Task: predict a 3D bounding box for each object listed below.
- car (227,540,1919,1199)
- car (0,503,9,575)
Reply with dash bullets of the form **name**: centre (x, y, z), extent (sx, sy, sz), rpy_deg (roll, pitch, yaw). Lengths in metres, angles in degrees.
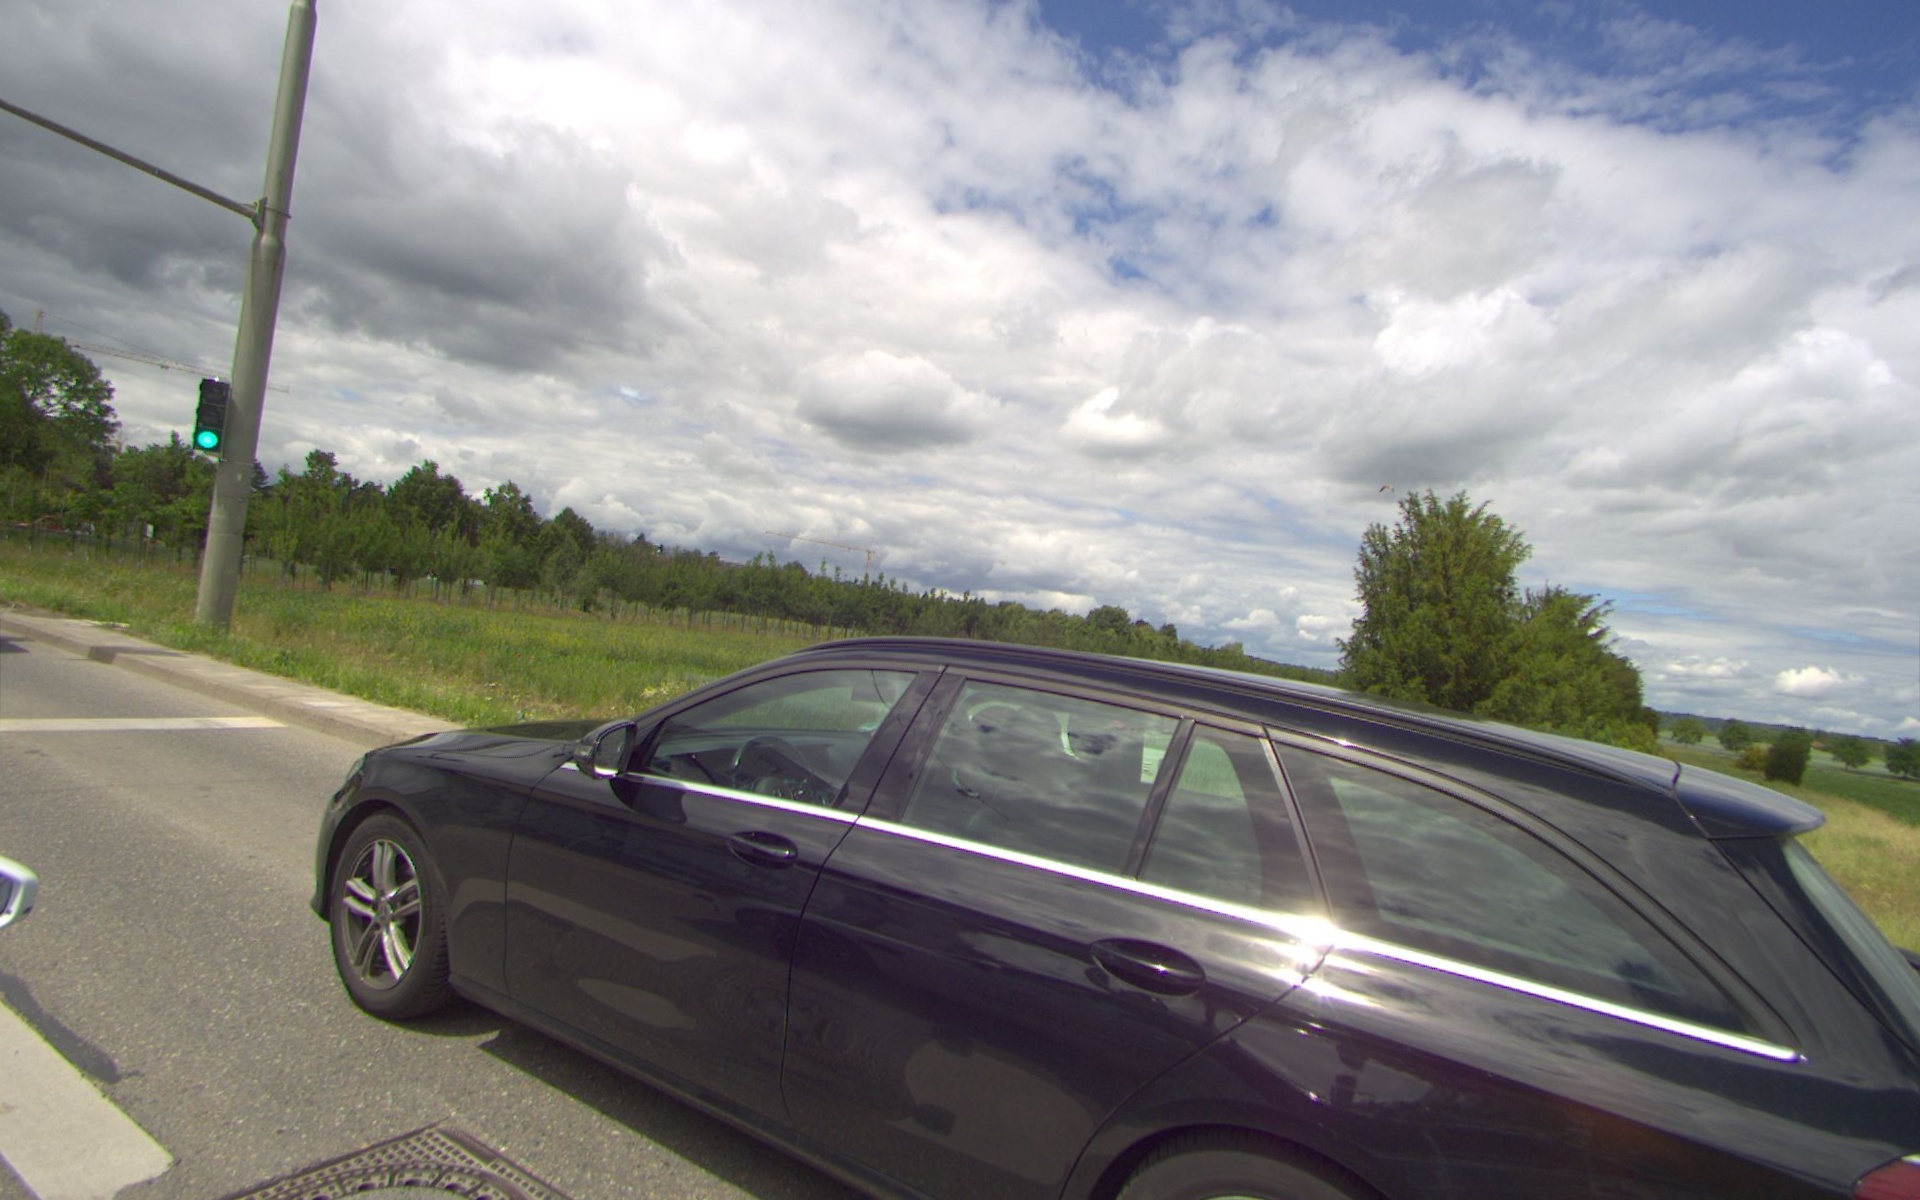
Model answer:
- **car**: centre (0.055, 0.841, 3.119), extent (5.114, 1.457, 1.876), rpy_deg (7, -1, 32)
- **car**: centre (-11.962, -0.498, 10.453), extent (4.373, 1.536, 1.866), rpy_deg (7, -1, 32)
